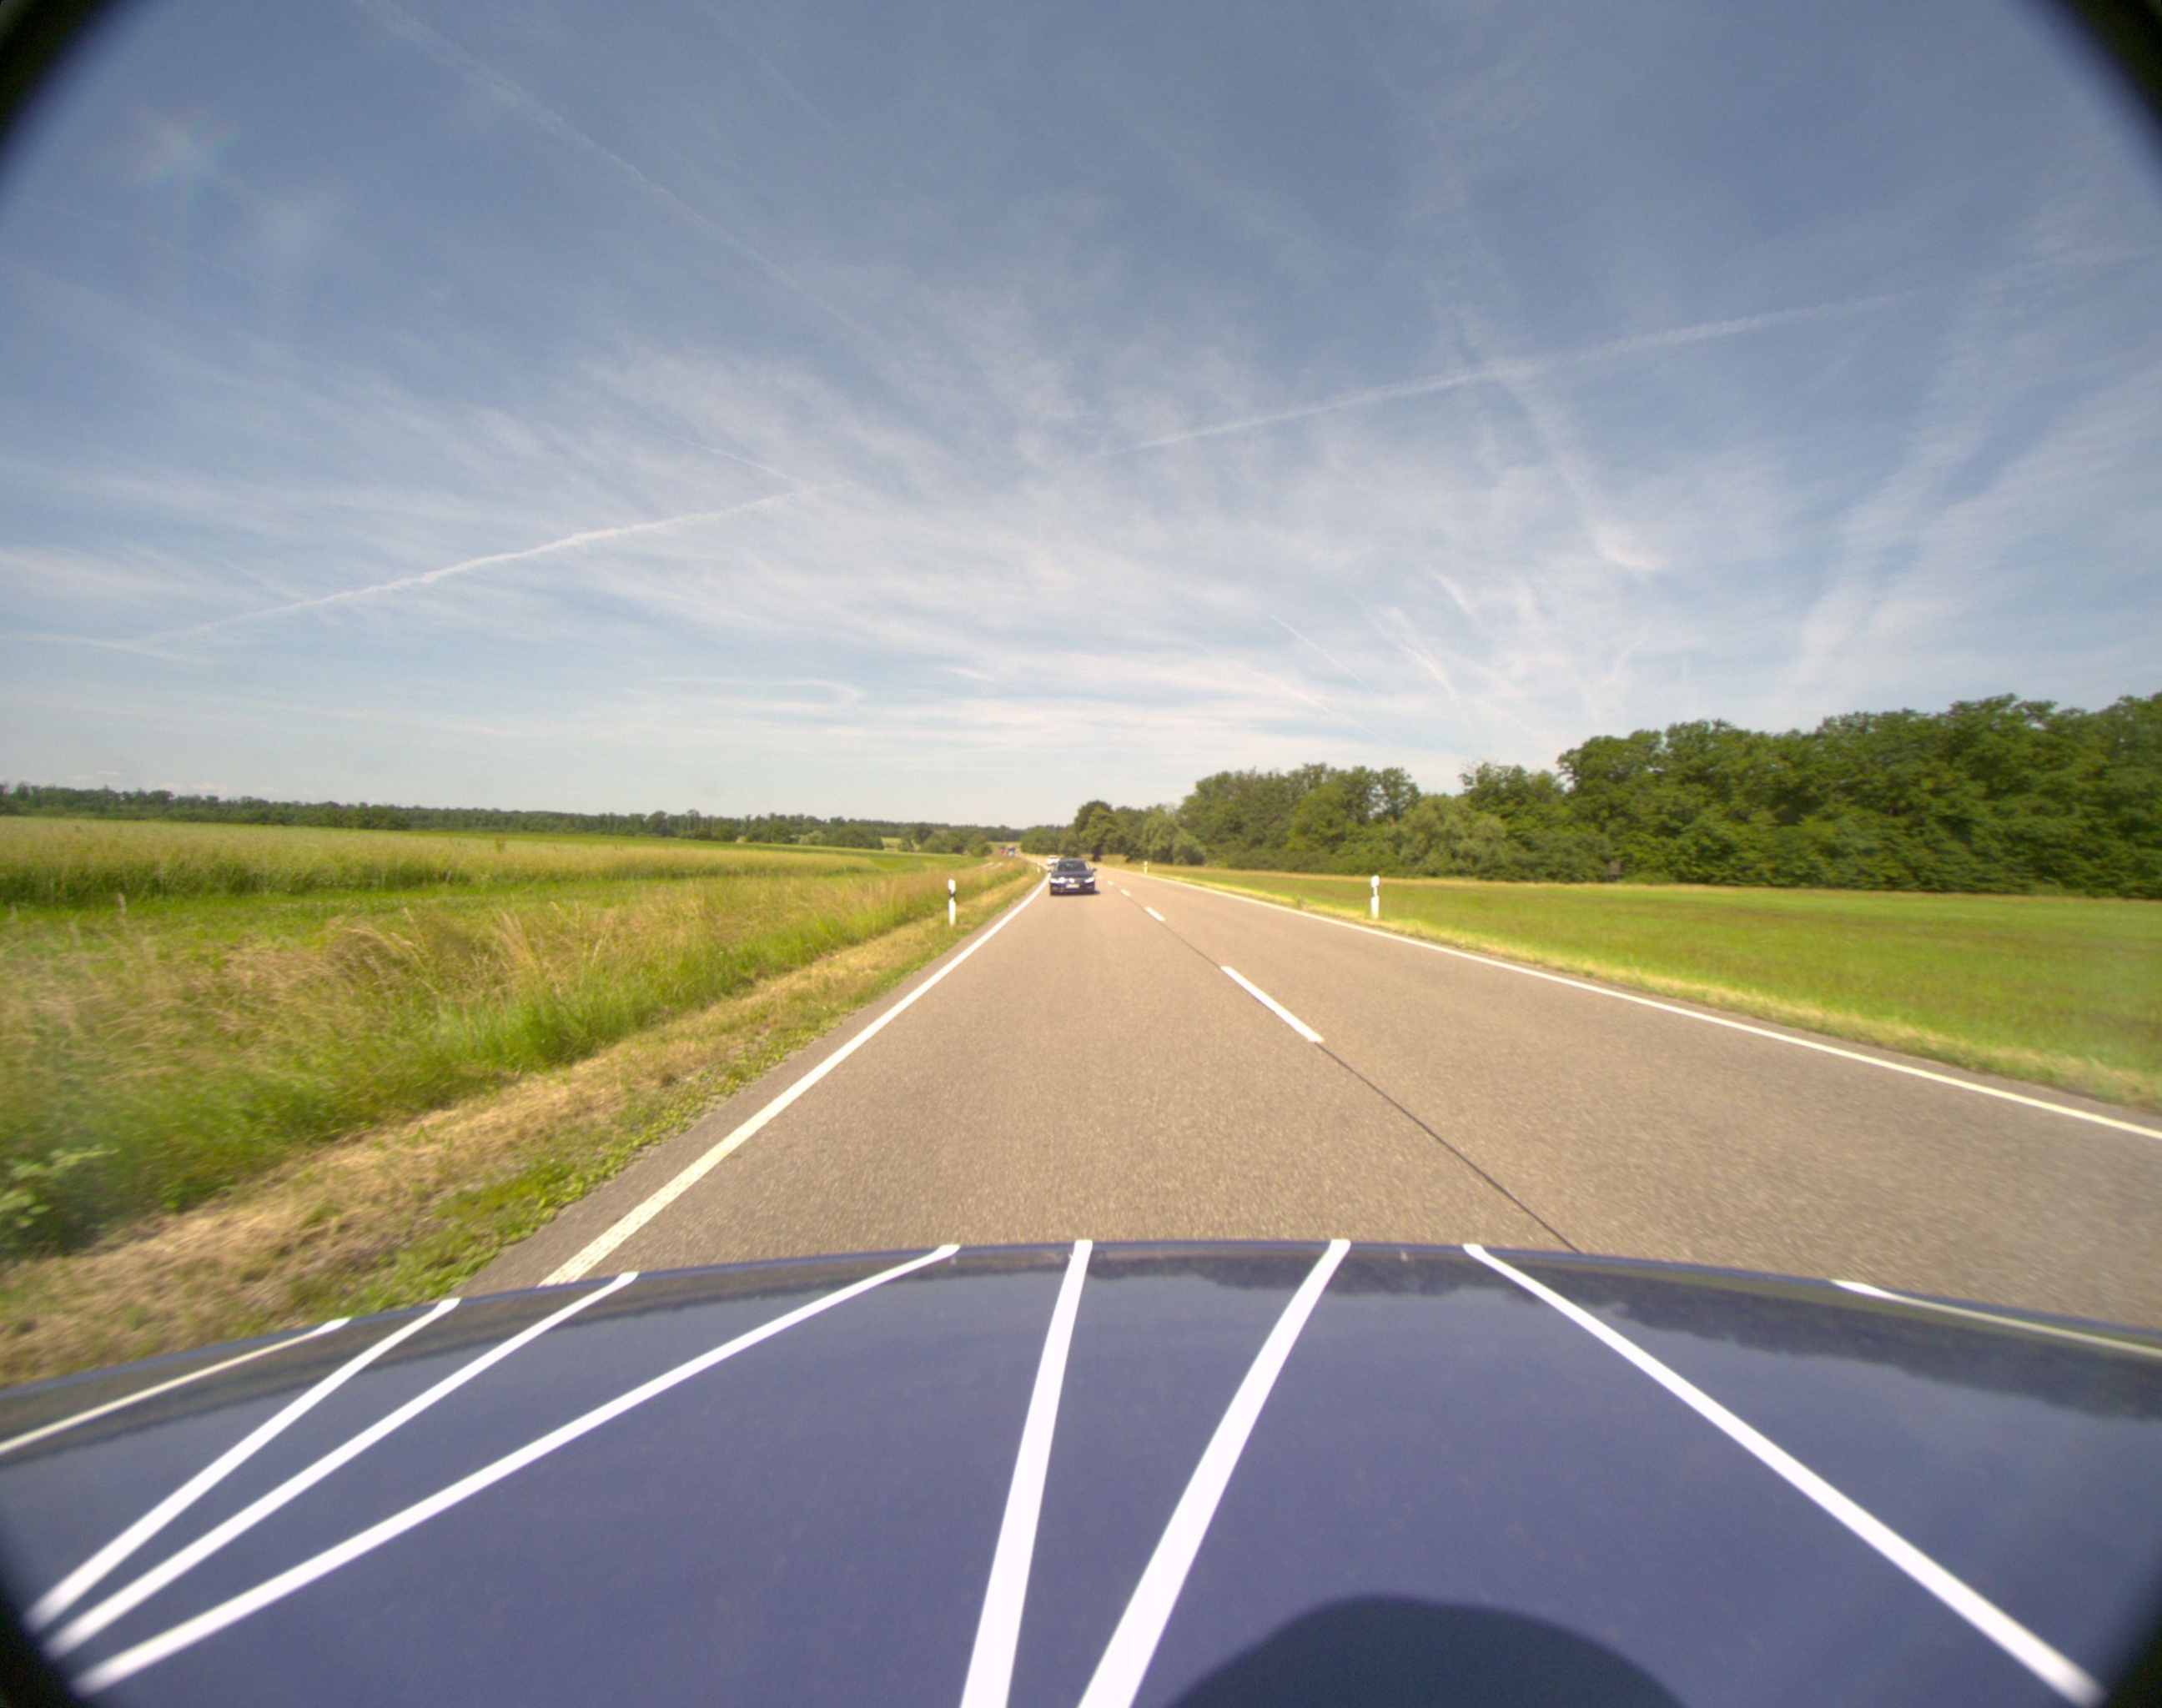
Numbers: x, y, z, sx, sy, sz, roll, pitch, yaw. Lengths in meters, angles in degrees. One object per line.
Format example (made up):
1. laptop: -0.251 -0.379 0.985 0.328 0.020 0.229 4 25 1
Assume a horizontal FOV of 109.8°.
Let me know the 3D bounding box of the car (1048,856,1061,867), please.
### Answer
1. car: -4.048 1.119 115.511 1.929 1.501 4.290 1 0 -4

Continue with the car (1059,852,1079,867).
1. car: -1.286 0.597 80.821 1.929 1.501 4.290 0 0 -4

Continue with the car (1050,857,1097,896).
1. car: -0.317 0.894 32.147 1.822 1.501 4.500 -2 0 -1
